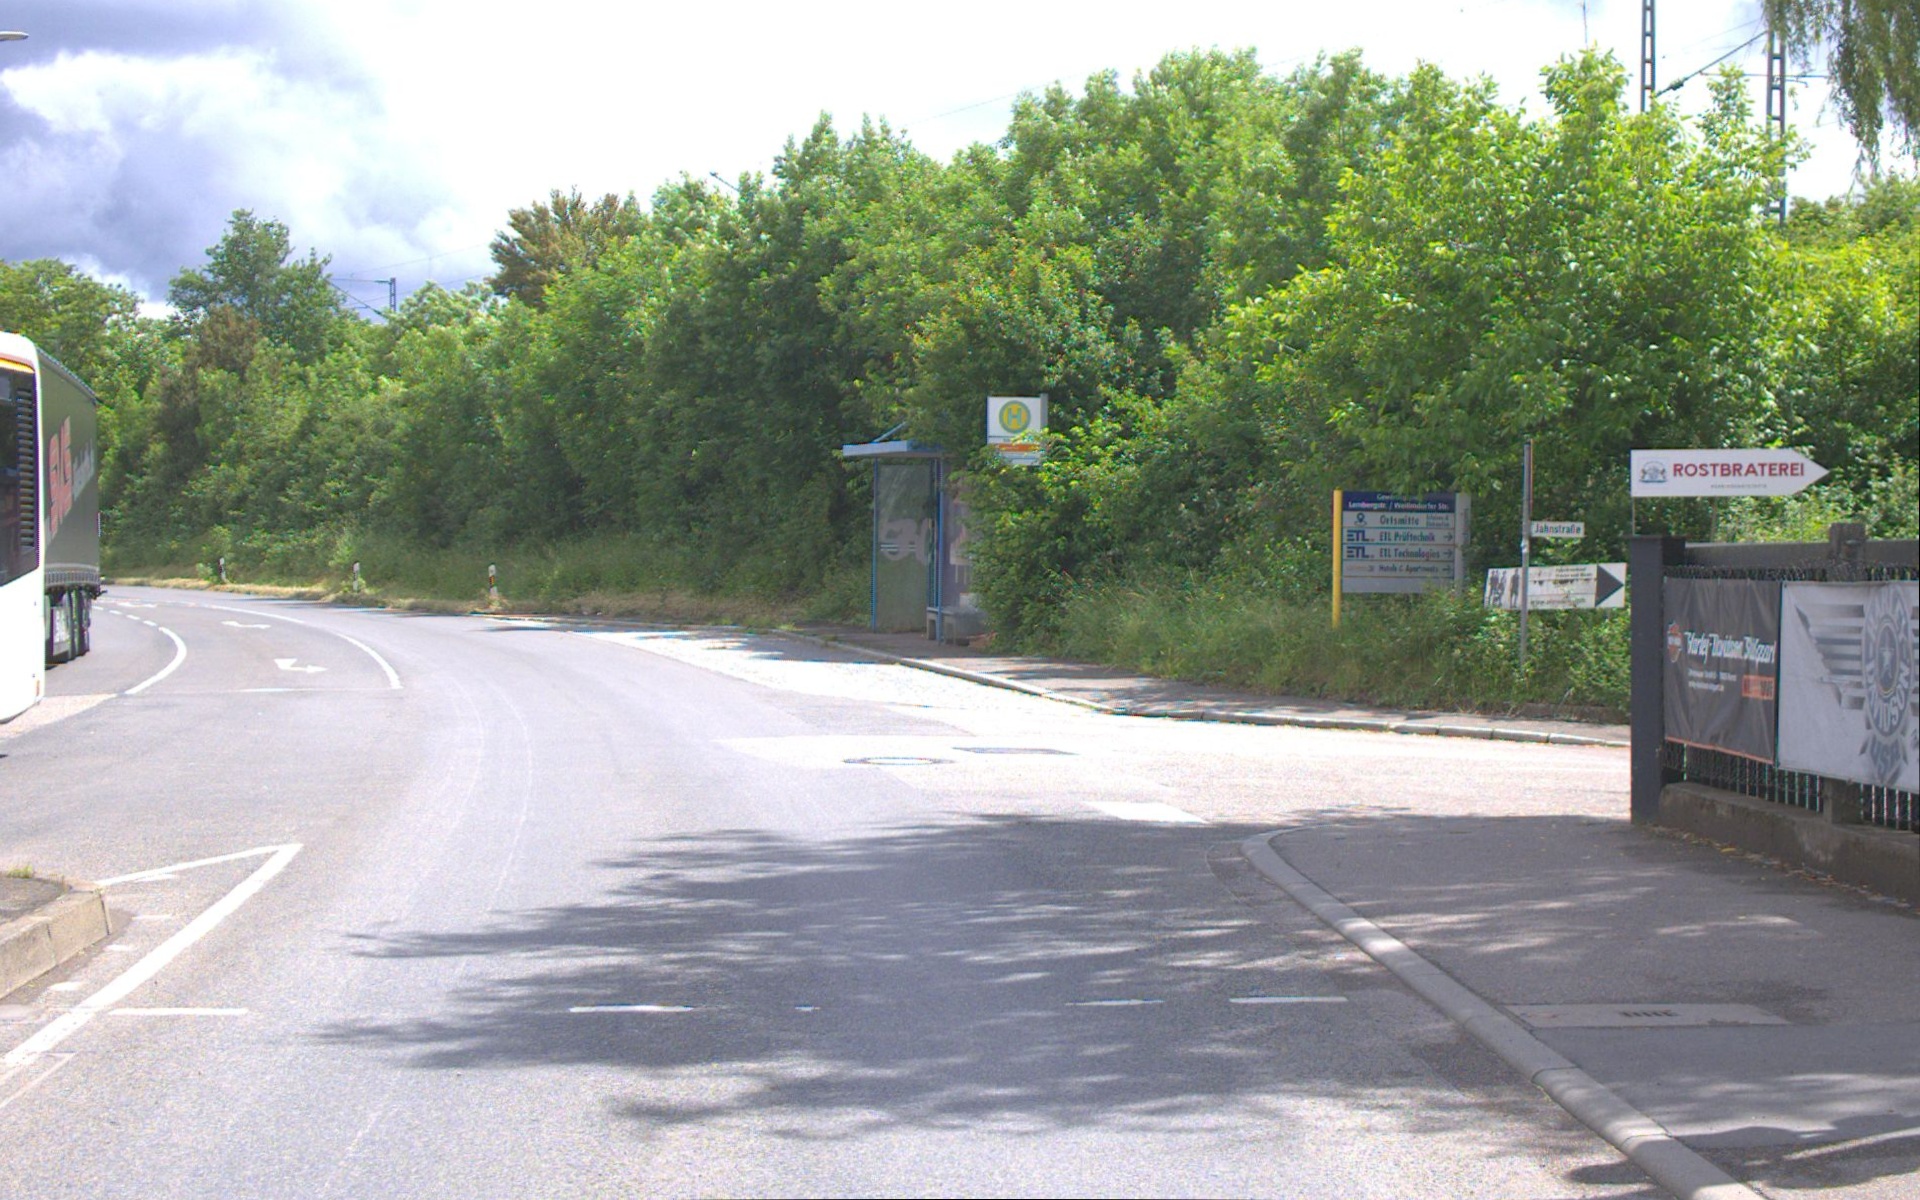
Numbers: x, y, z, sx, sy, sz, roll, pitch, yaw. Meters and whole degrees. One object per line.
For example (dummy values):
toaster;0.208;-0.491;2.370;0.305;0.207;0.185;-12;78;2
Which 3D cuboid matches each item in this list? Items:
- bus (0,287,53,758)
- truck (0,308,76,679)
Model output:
bus;-7.958;-0.469;19.074;2.777;3.255;12.124;-1;1;-1
truck;-12.191;-1.234;40.182;2.428;4.117;9.152;2;0;-8
